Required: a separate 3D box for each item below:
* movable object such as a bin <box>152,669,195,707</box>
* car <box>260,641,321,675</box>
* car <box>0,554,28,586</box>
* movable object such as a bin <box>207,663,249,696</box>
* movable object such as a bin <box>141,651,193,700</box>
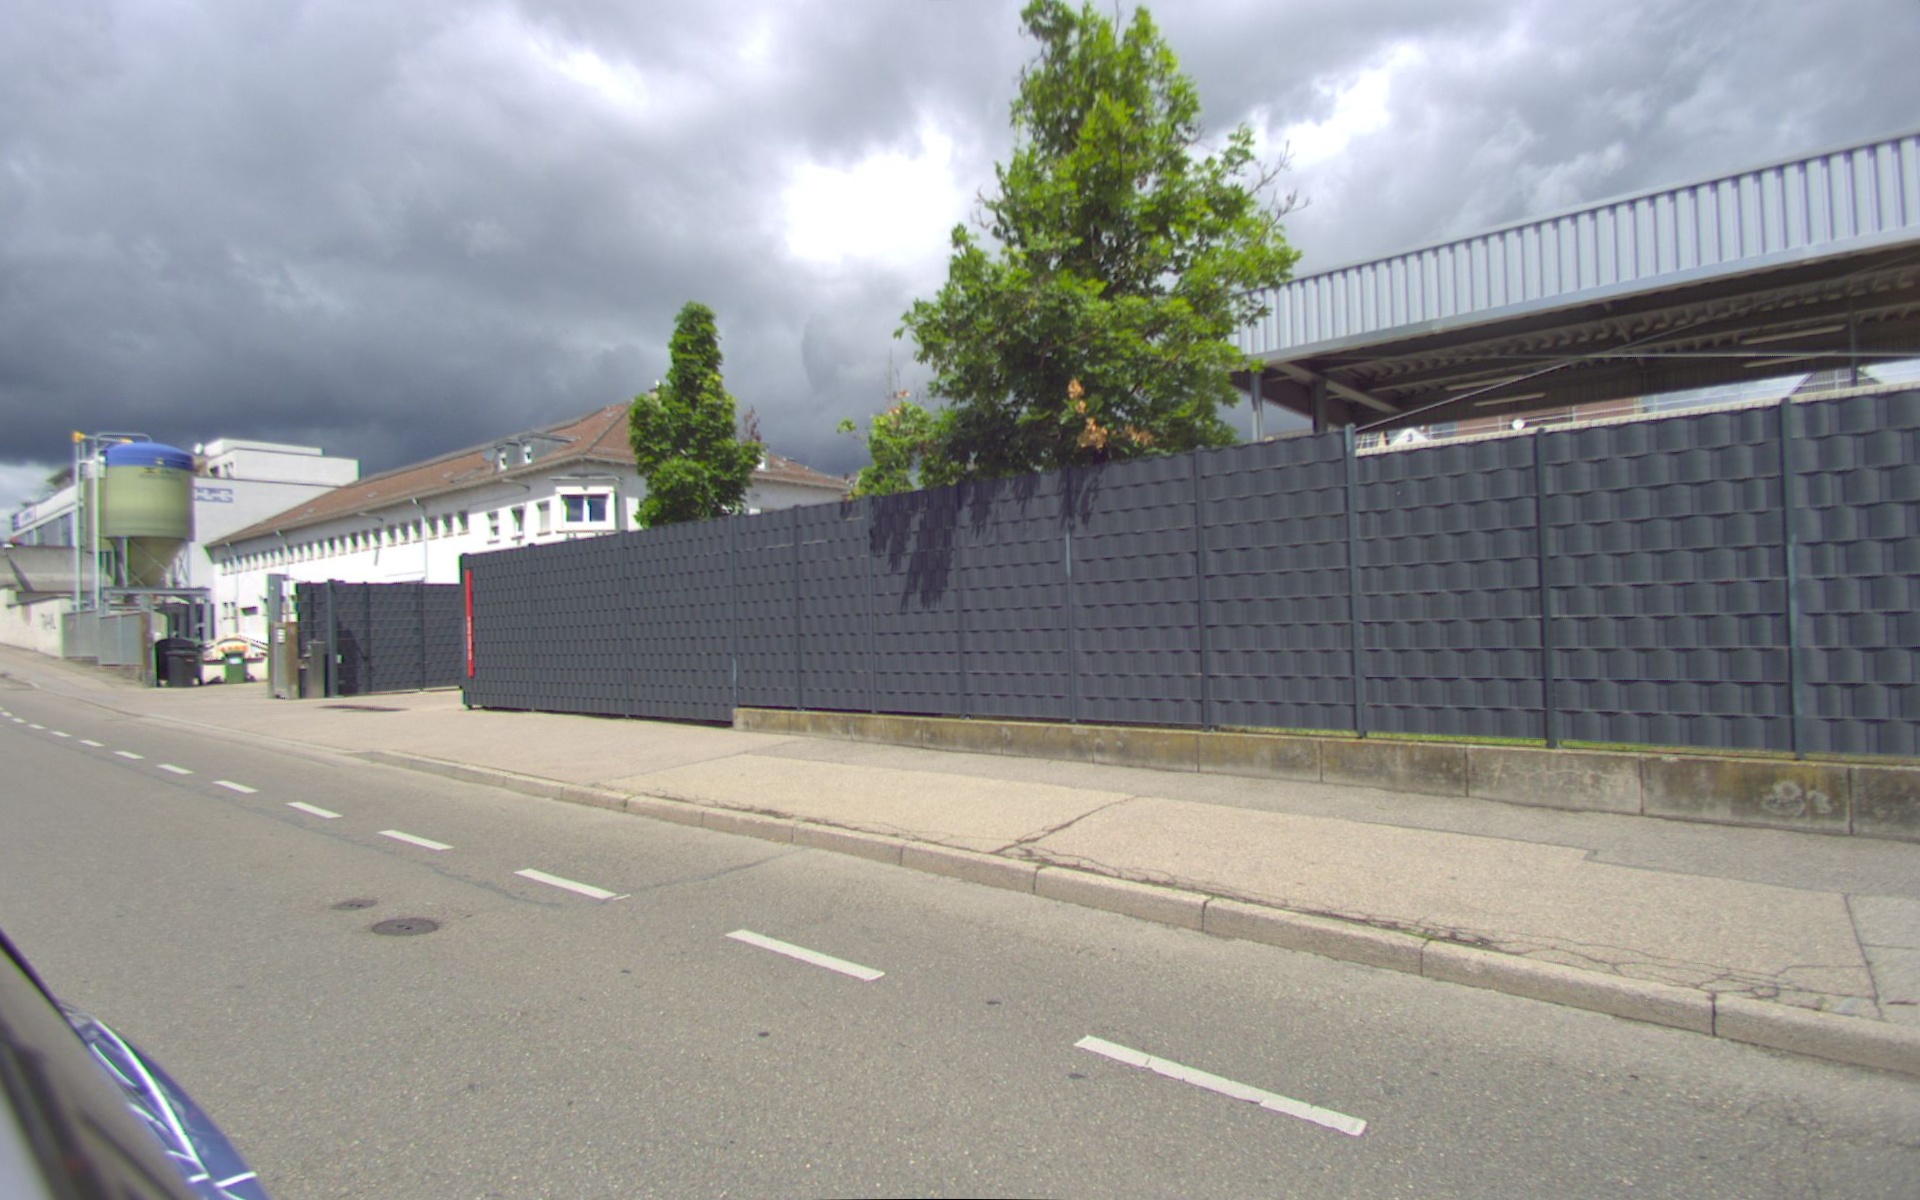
[{"bbox_3d":[-22.680,2.528,29.184,0.740,1.058,0.863,-3,-4,43],"label":"movable object such as a bin"},{"bbox_3d":[-36.948,3.161,55.813,4.102,1.649,1.787,0,1,41],"label":"car"},{"bbox_3d":[-50.884,-1.580,53.605,4.102,1.649,1.787,0,1,41],"label":"car"},{"bbox_3d":[-23.014,2.498,31.837,0.853,1.009,0.730,-3,-2,23],"label":"movable object such as a bin"},{"bbox_3d":[-23.399,2.221,29.864,1.215,1.404,0.980,-3,-4,41],"label":"movable object such as a bin"}]
